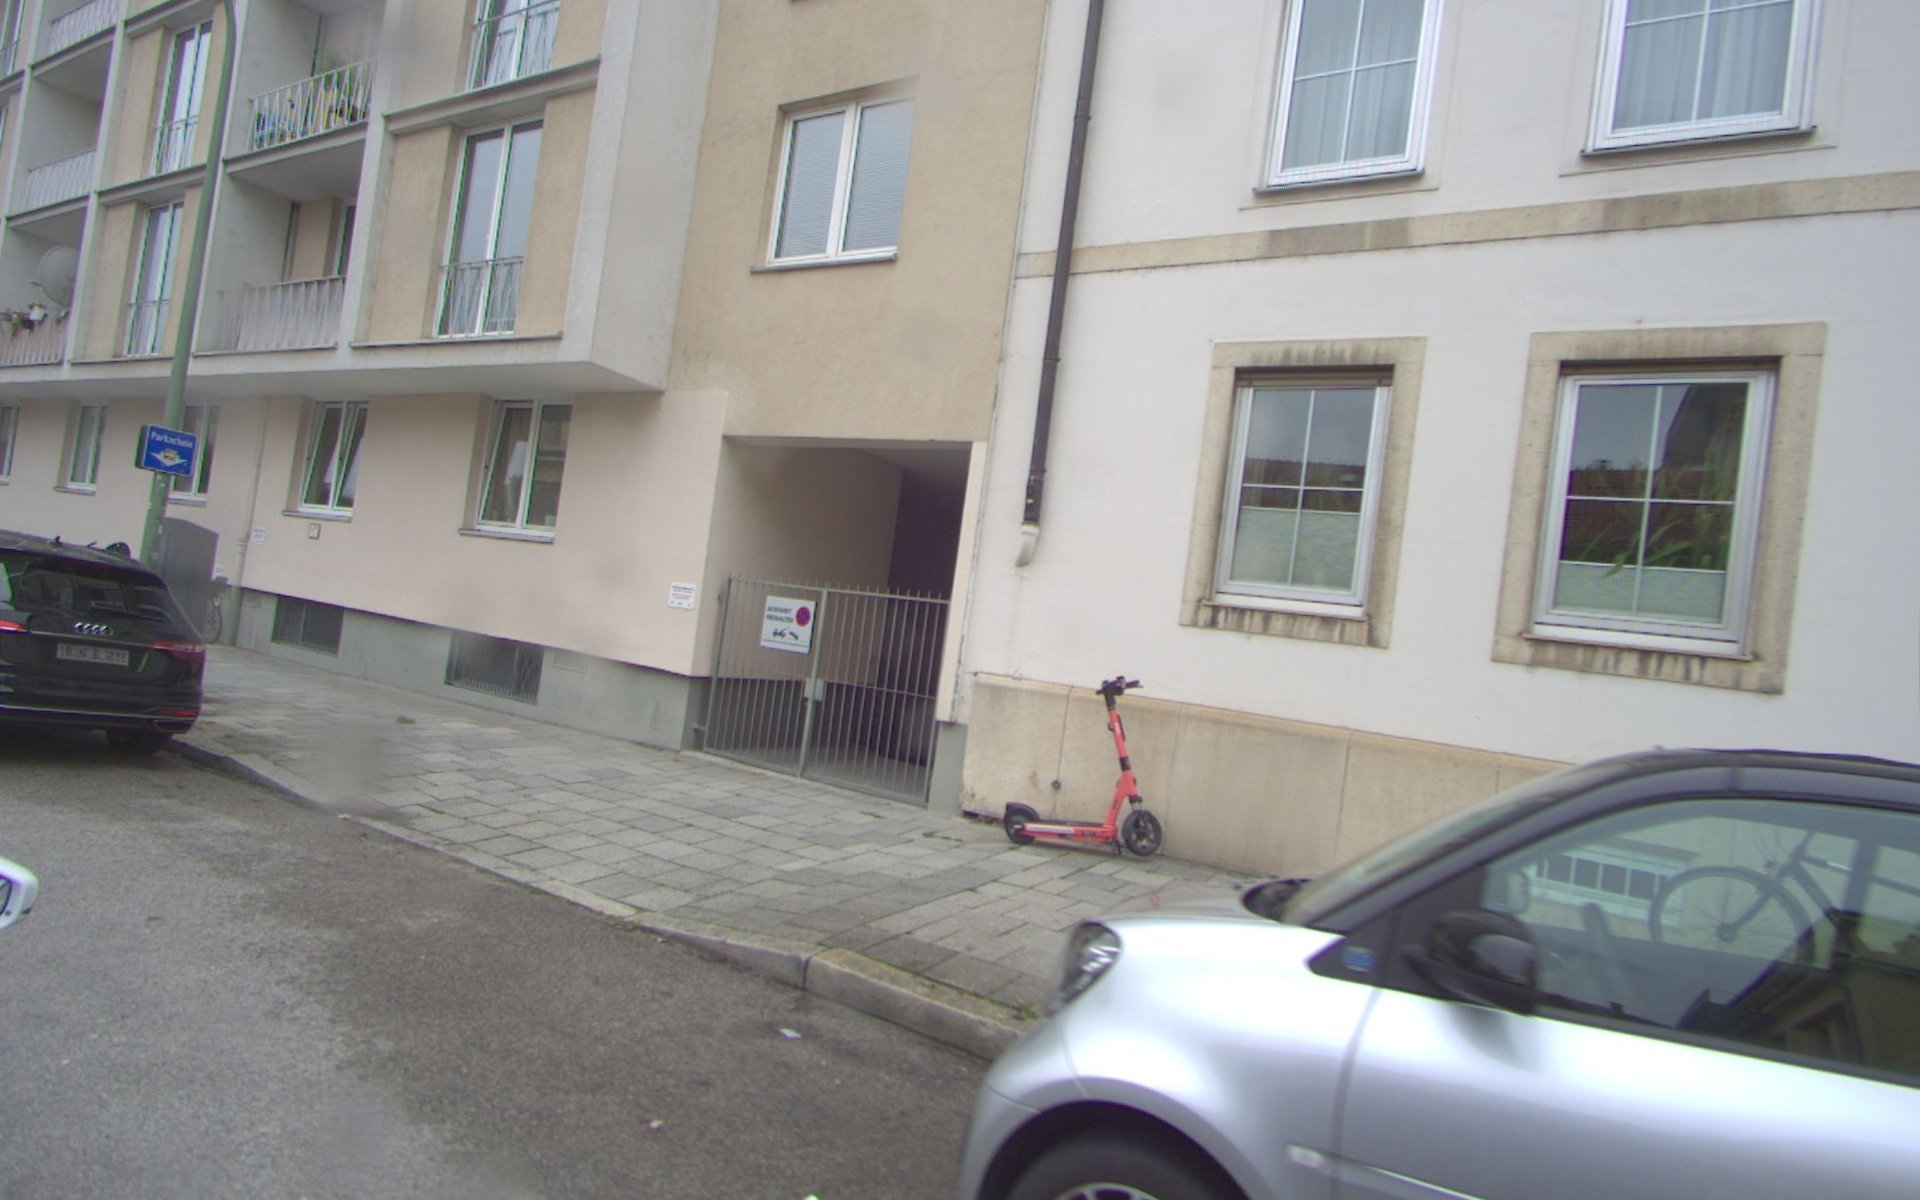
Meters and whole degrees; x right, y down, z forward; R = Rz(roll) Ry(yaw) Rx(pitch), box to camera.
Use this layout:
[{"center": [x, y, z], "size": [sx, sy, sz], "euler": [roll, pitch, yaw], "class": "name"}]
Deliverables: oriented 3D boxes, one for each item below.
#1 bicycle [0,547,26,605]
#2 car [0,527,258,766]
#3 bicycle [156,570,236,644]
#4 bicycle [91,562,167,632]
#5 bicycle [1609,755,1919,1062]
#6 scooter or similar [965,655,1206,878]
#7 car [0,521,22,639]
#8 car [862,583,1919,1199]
[{"center": [-16.917, -0.457, 17.625], "size": [1.369, 0.915, 0.379], "euler": [7, -2, 32], "class": "bicycle"}, {"center": [-7.624, 0.104, 7.545], "size": [4.868, 1.402, 1.752], "euler": [7, -4, 29], "class": "car"}, {"center": [-11.175, 0.097, 14.704], "size": [1.369, 0.915, 0.379], "euler": [7, -2, 32], "class": "bicycle"}, {"center": [-12.759, -0.052, 15.437], "size": [1.369, 0.915, 0.379], "euler": [7, -2, 32], "class": "bicycle"}, {"center": [4.596, 1.583, 5.090], "size": [2.068, 1.231, 0.531], "euler": [7, -2, 32], "class": "bicycle"}, {"center": [0.909, 1.164, 7.309], "size": [1.560, 1.374, 0.441], "euler": [5, -2, 19], "class": "scooter or similar"}, {"center": [-11.680, -0.347, 10.194], "size": [4.501, 1.504, 1.701], "euler": [7, -4, 29], "class": "car"}, {"center": [1.489, 0.972, 2.168], "size": [2.833, 1.510, 1.656], "euler": [7, -5, 31], "class": "car"}]
